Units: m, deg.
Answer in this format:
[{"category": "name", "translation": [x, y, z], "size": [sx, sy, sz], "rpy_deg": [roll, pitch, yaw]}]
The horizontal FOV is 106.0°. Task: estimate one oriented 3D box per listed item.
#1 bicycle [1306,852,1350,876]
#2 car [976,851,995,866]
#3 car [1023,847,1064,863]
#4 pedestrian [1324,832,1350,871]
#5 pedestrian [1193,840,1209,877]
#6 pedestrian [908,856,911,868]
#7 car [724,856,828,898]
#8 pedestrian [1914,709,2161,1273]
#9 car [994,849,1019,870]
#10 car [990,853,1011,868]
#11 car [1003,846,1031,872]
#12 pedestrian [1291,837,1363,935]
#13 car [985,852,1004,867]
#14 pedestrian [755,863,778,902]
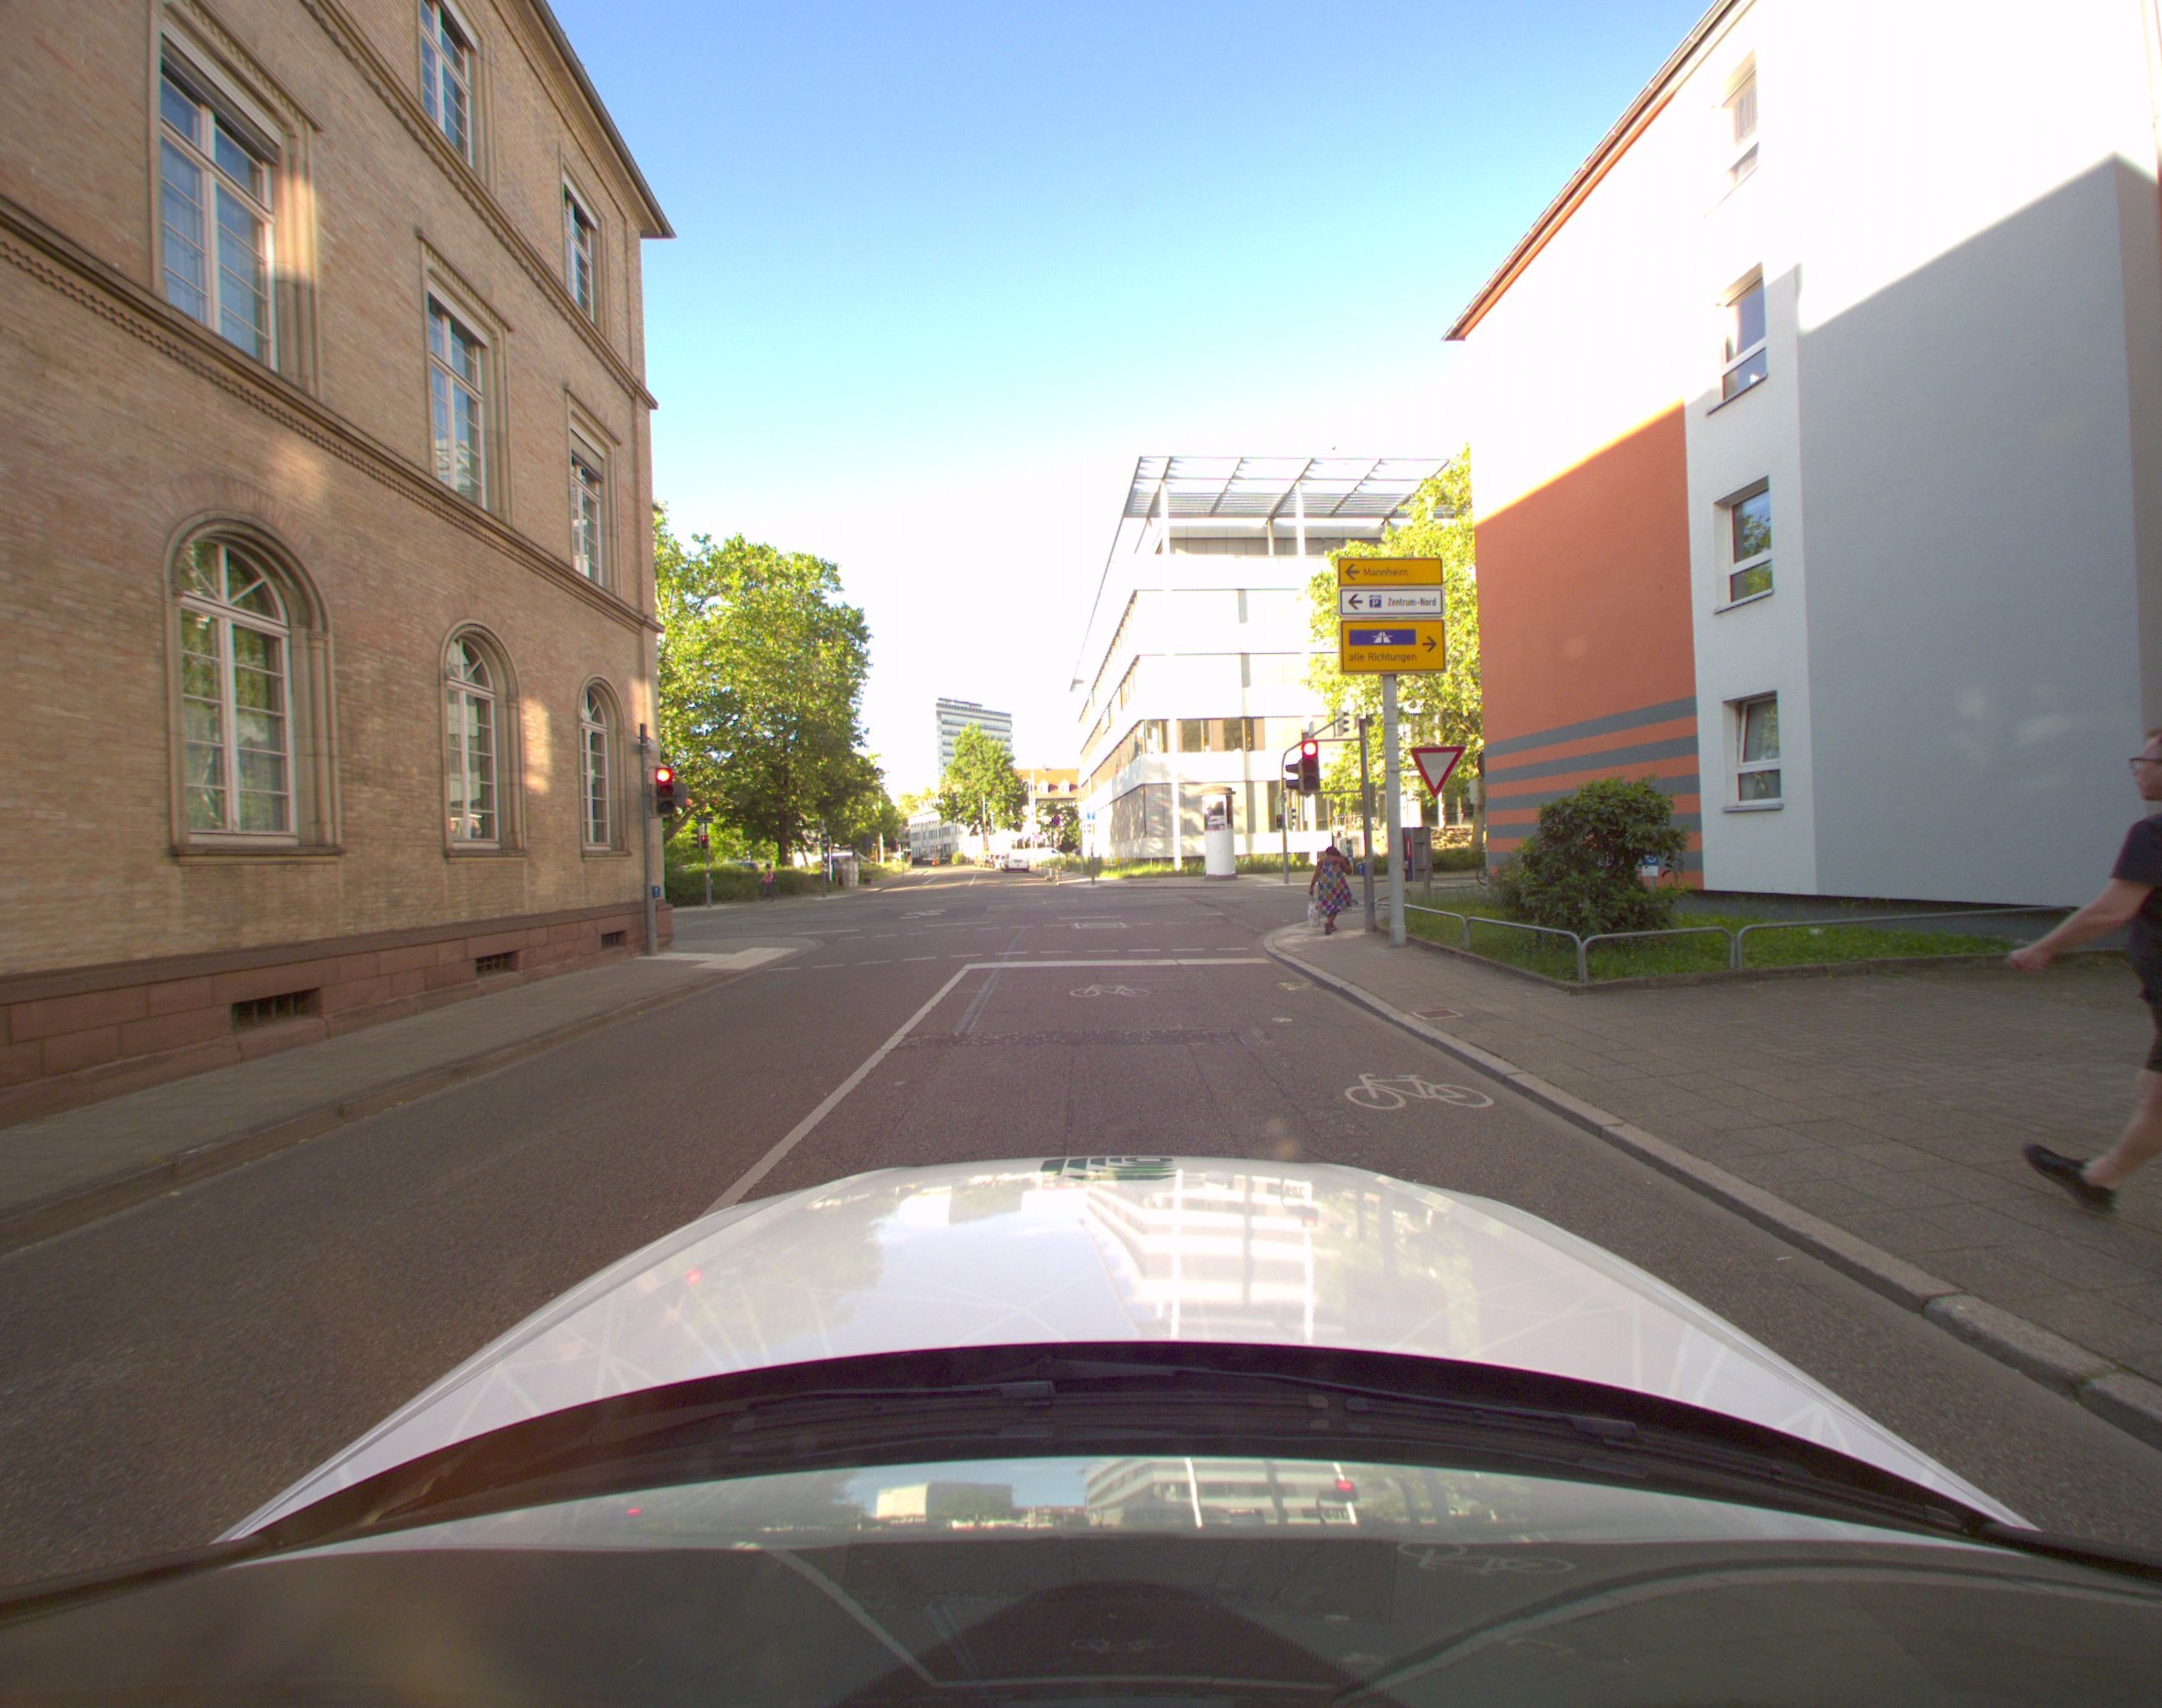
[{"category": "bicycle", "translation": [10.899, 0.444, 35.996], "size": [0.467, 1.049, 1.893], "rpy_deg": [-2, 0, -40]}, {"category": "car", "translation": [-11.309, 0.522, 96.125], "size": [2.100, 1.658, 4.461], "rpy_deg": [-2, 0, -9]}, {"category": "car", "translation": [-4.728, 0.115, 103.111], "size": [4.889, 1.872, 1.990], "rpy_deg": [-1, -1, -15]}, {"category": "pedestrian", "translation": [12.088, -0.115, 38.475], "size": [0.540, 1.831, 1.031], "rpy_deg": [-2, 0, -28]}, {"category": "pedestrian", "translation": [5.739, 0.226, 38.939], "size": [0.649, 1.736, 0.814], "rpy_deg": [-2, 0, 8]}, {"category": "pedestrian", "translation": [-20.769, 0.960, 98.592], "size": [0.380, 1.534, 0.444], "rpy_deg": [-2, 0, -10]}, {"category": "car", "translation": [-14.403, 1.072, 38.638], "size": [4.219, 1.777, 1.901], "rpy_deg": [-2, 0, -7]}, {"category": "pedestrian", "translation": [3.711, 0.418, 2.792], "size": [0.641, 1.788, 0.917], "rpy_deg": [-5, 0, 4]}, {"category": "car", "translation": [-7.100, 0.502, 76.909], "size": [1.947, 1.795, 4.223], "rpy_deg": [-2, 0, -11]}, {"category": "car", "translation": [-8.108, 0.639, 81.732], "size": [1.705, 1.424, 4.221], "rpy_deg": [-2, 0, -11]}, {"category": "car", "translation": [-5.132, 0.402, 64.935], "size": [2.065, 1.963, 4.228], "rpy_deg": [-2, 0, -7]}, {"category": "pedestrian", "translation": [4.274, 0.543, 14.116], "size": [0.945, 1.573, 0.755], "rpy_deg": [-5, 0, 26]}, {"category": "car", "translation": [-9.201, 0.550, 86.243], "size": [1.704, 1.464, 4.225], "rpy_deg": [-2, 0, -9]}, {"category": "pedestrian", "translation": [-13.147, 1.193, 34.079], "size": [0.717, 1.599, 0.611], "rpy_deg": [-2, 0, -34]}]
